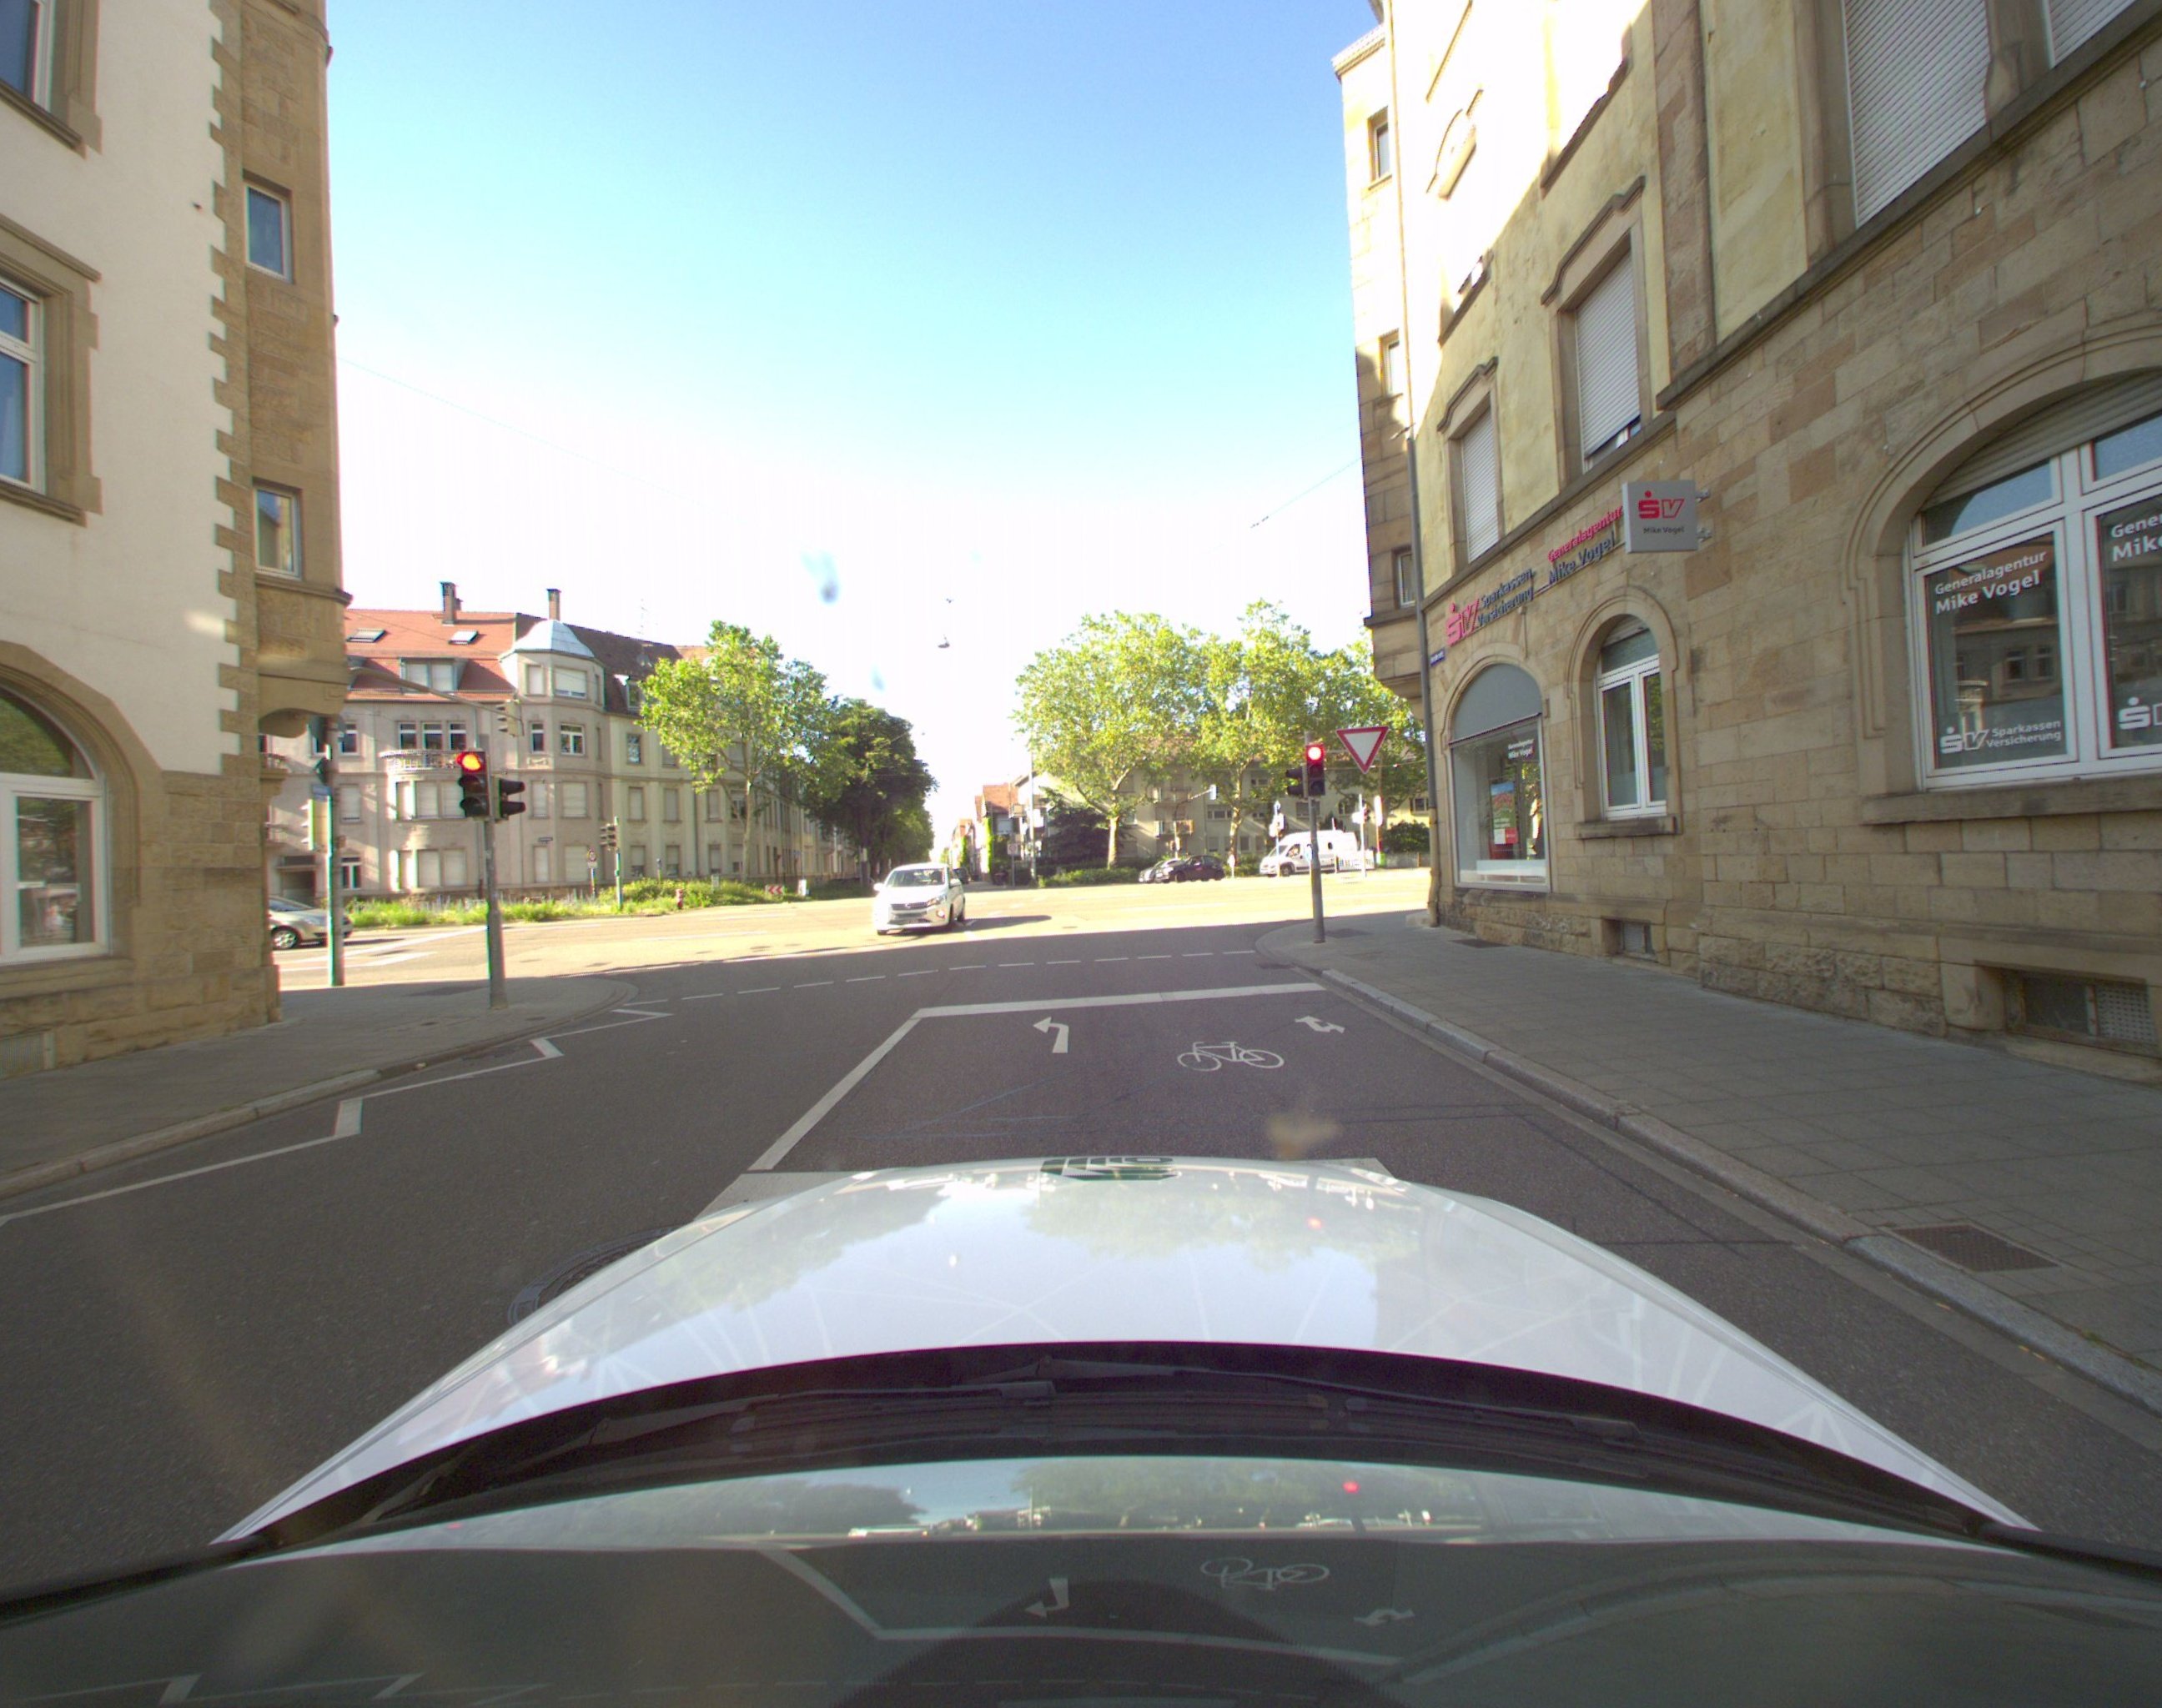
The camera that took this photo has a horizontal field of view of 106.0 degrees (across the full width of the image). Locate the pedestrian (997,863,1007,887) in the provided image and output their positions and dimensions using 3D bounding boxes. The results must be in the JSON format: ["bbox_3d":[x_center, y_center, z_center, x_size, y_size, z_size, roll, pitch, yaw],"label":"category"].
[{"bbox_3d":[-5.853,1.549,60.483,0.633,1.750,0.657,-2,-1,-9],"label":"pedestrian"}]

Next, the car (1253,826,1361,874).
[{"bbox_3d":[13.688,-0.231,49.319,6.054,2.568,1.989,-3,0,-17],"label":"car"}]

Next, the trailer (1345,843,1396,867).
[{"bbox_3d":[17.970,0.078,50.569,2.747,1.311,1.263,-3,0,-17],"label":"trailer"}]

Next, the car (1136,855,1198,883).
[{"bbox_3d":[5.248,0.895,49.835,3.391,1.487,1.515,-3,0,-20],"label":"car"}]

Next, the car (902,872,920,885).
[{"bbox_3d":[-20.093,2.880,96.325,1.995,1.445,3.983,-3,0,-12],"label":"car"}]

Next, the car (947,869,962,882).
[{"bbox_3d":[-19.563,3.312,126.041,1.996,1.833,3.980,-1,-1,-14],"label":"car"}]

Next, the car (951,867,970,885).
[{"bbox_3d":[-14.048,2.555,95.326,1.992,2.013,3.989,-3,0,-8],"label":"car"}]

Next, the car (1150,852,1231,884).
[{"bbox_3d":[5.856,0.722,43.501,4.004,1.451,1.646,-3,0,-23],"label":"car"}]

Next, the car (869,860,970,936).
[{"bbox_3d":[-3.628,0.932,18.877,1.620,1.472,3.796,-3,0,-2],"label":"car"}]

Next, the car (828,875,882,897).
[{"bbox_3d":[-17.914,2.541,64.552,3.997,1.486,1.672,-3,0,-17],"label":"car"}]

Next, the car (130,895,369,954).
[{"bbox_3d":[-21.773,1.815,21.538,3.995,1.319,1.812,0,-1,-16],"label":"car"}]
